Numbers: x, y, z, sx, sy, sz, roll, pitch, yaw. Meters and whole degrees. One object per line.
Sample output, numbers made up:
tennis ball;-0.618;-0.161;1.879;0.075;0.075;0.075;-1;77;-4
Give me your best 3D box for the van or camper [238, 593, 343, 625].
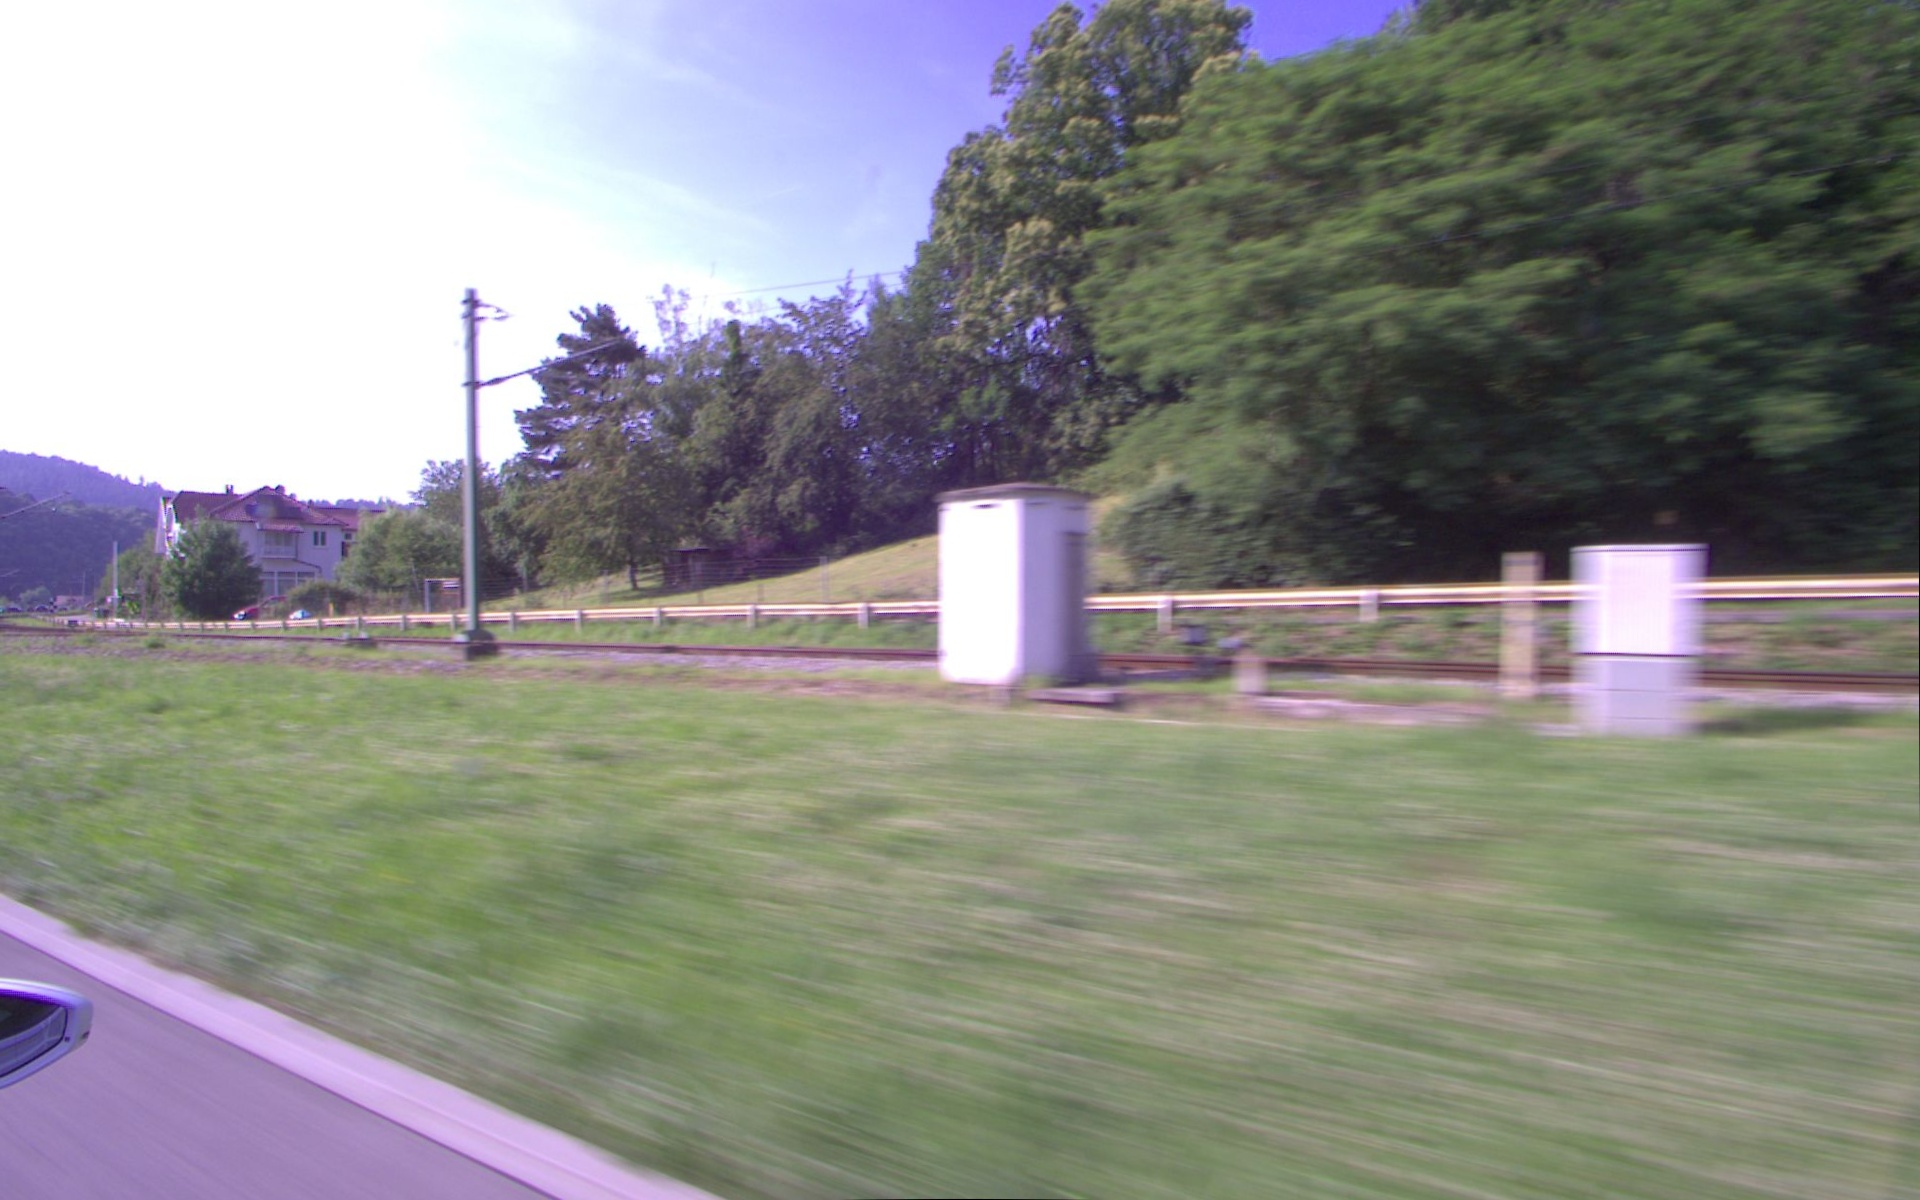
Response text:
van or camper;-43.715;0.554;65.448;2.099;1.955;5.381;0;1;45
